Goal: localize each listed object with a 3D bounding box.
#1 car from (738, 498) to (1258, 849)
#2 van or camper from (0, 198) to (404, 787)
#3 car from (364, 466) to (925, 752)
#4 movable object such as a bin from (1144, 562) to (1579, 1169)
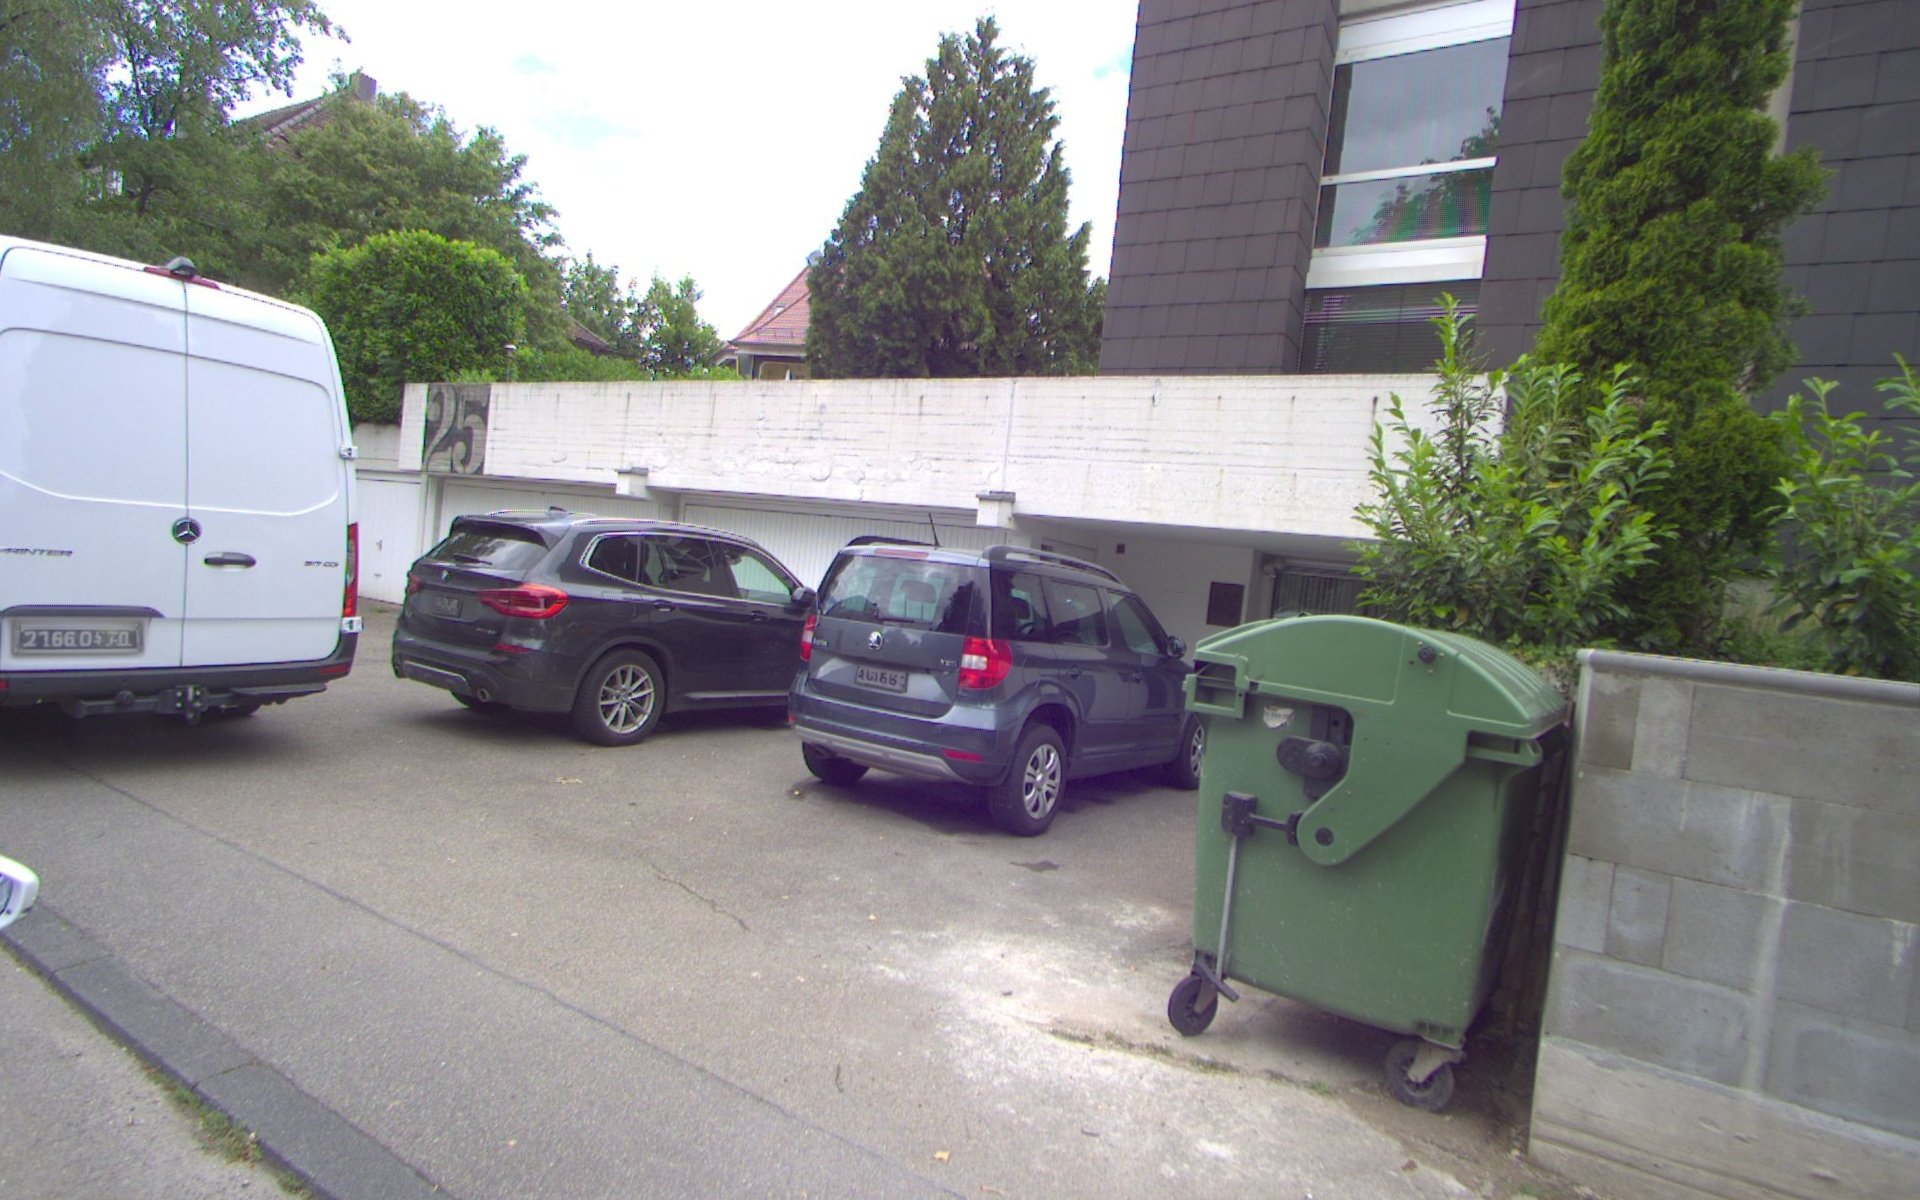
[{"bbox_3d":[0.557,0.455,7.384,1.804,1.772,3.973,7,1,35],"label":"car"},{"bbox_3d":[-6.683,-0.733,6.888,6.432,2.653,1.995,7,1,32],"label":"van or camper"},{"bbox_3d":[-2.339,0.125,8.665,1.710,1.772,4.419,7,1,33],"label":"car"},{"bbox_3d":[1.375,0.729,3.379,1.016,1.550,1.034,7,1,33],"label":"movable object such as a bin"}]
